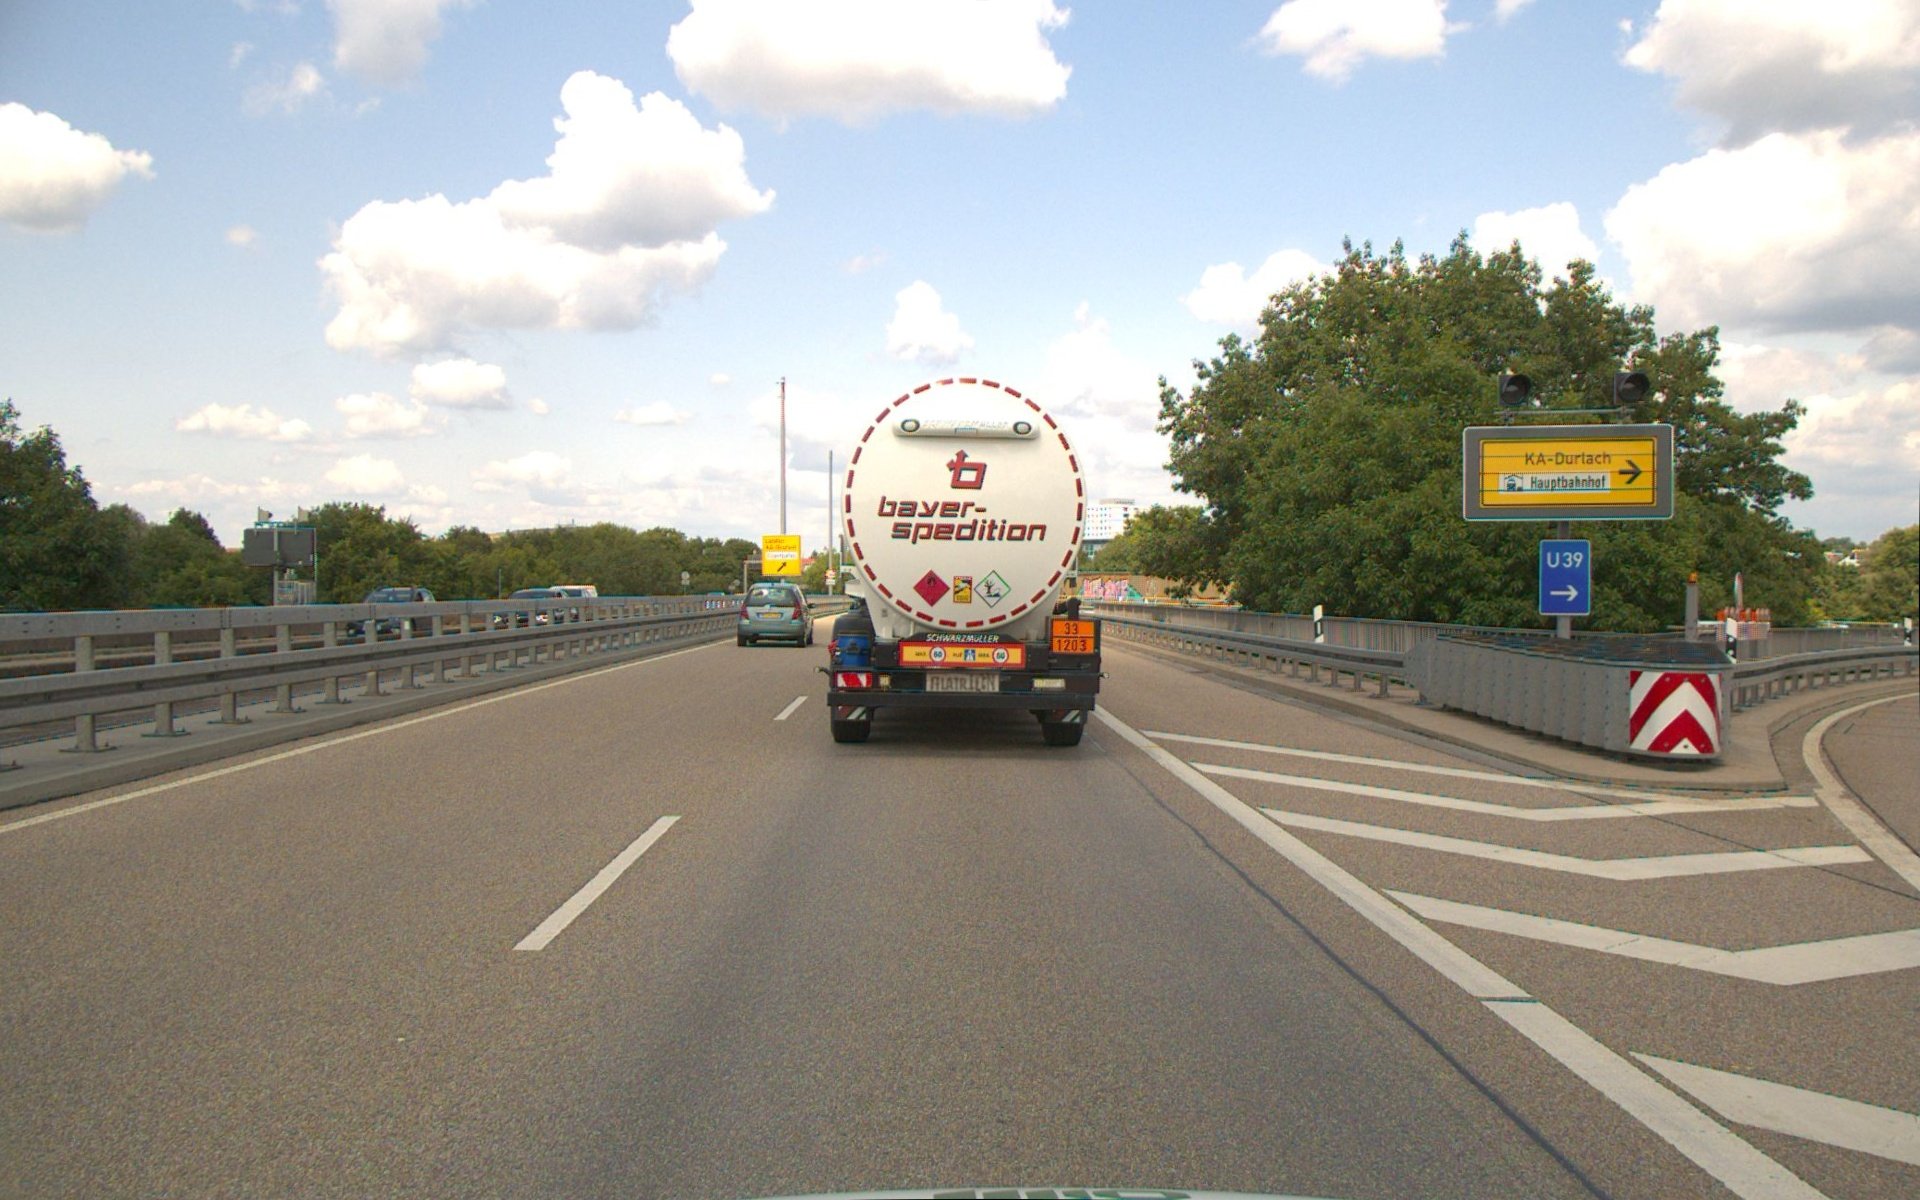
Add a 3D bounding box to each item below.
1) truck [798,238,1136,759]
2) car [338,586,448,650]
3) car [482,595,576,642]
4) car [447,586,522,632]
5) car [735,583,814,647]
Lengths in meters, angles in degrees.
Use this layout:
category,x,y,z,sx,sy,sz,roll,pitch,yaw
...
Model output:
category,x,y,z,sx,sy,sz,roll,pitch,yaw
truck,-0.072,-0.893,18.374,2.837,4.445,8.026,1,0,-2
car,-15.987,0.478,46.814,1.785,1.667,3.999,1,0,-2
car,-11.918,0.475,45.955,1.647,1.206,3.999,1,0,-2
car,-18.682,0.334,65.122,1.853,1.668,4.510,1,0,-3
car,-4.752,0.342,42.799,1.712,1.558,3.999,0,1,-2
